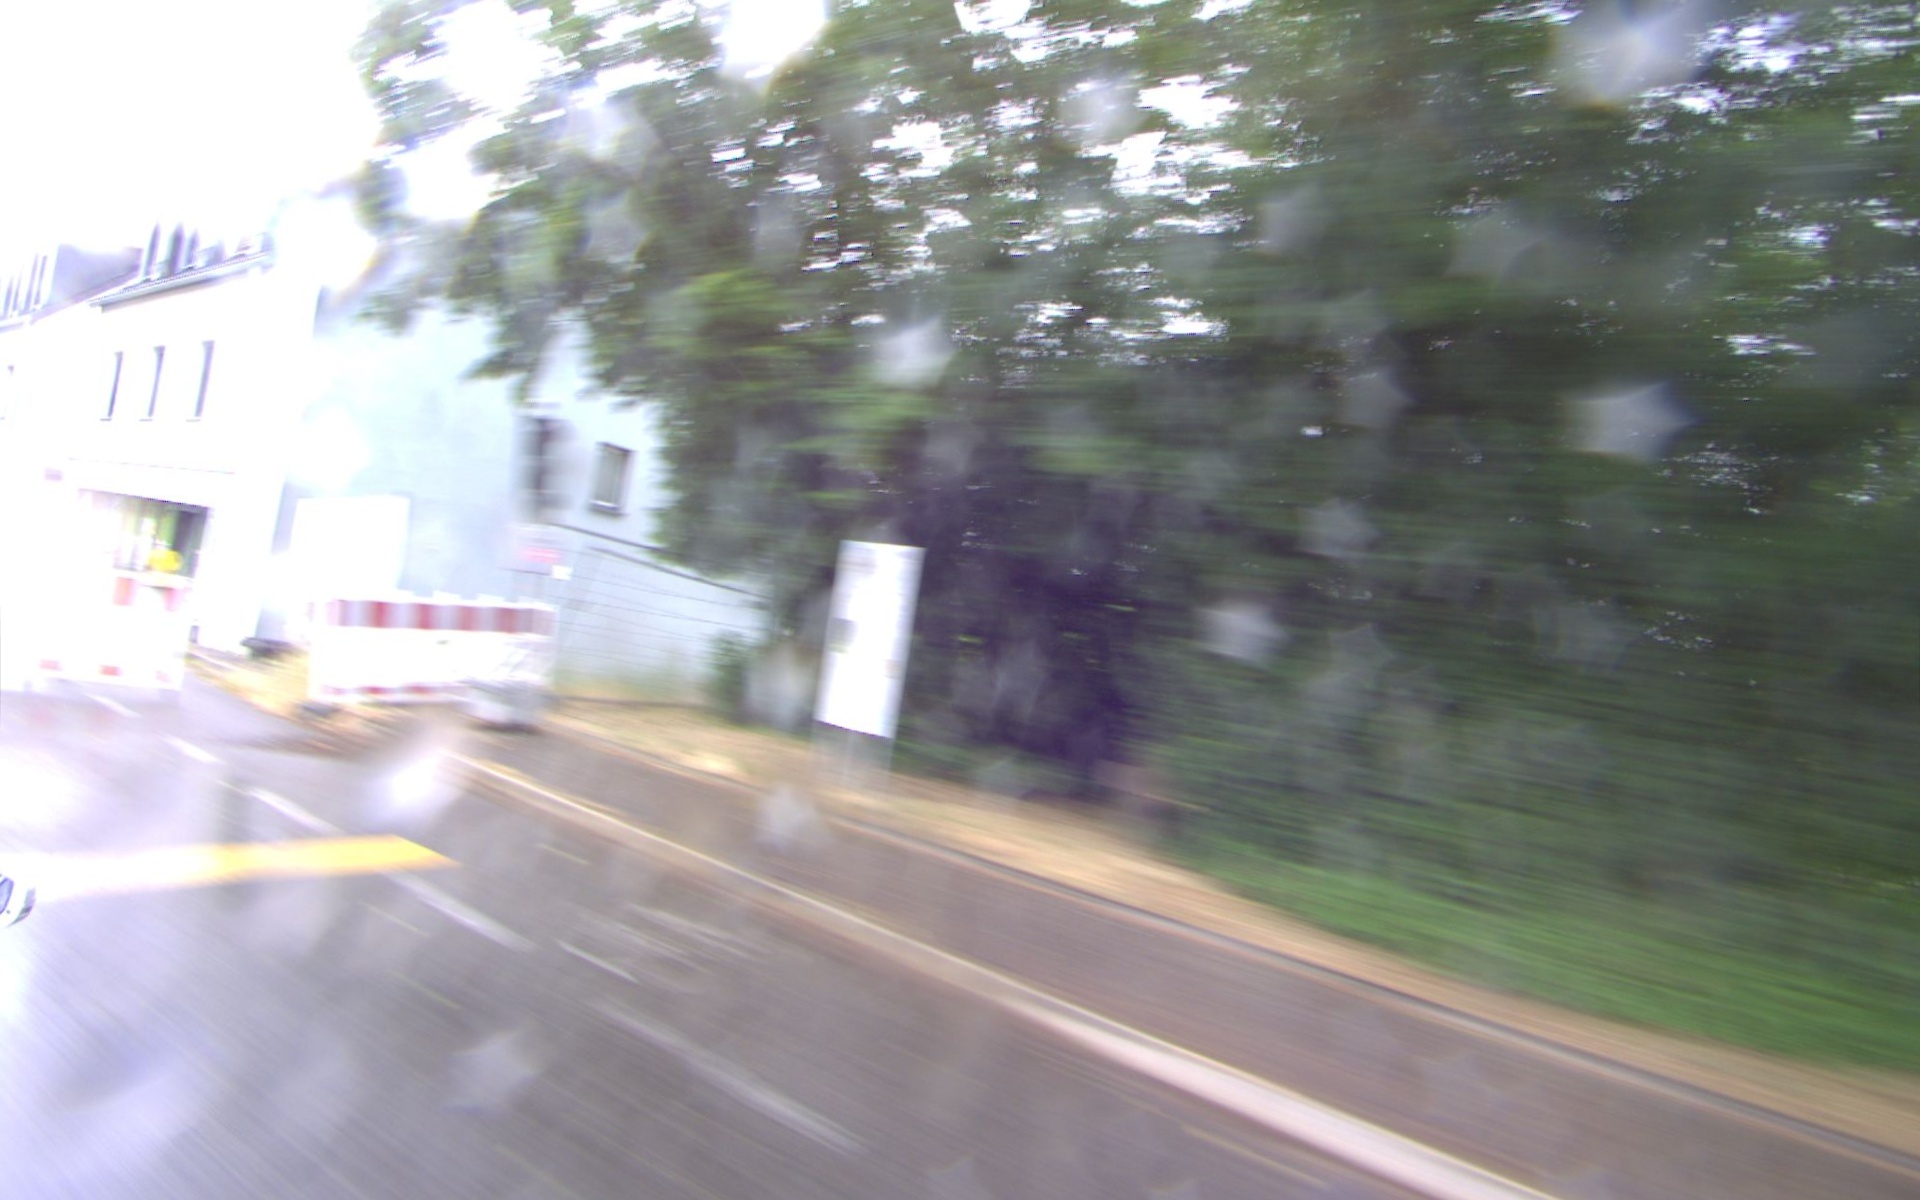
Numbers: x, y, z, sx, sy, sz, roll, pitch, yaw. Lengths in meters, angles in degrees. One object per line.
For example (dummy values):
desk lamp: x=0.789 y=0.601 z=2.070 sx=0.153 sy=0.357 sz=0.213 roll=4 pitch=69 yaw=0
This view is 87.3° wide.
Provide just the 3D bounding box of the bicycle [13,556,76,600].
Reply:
bicycle: x=-18.088 y=-0.445 z=19.871 sx=1.711 sy=0.706 sz=0.496 roll=7 pitch=2 yaw=33
